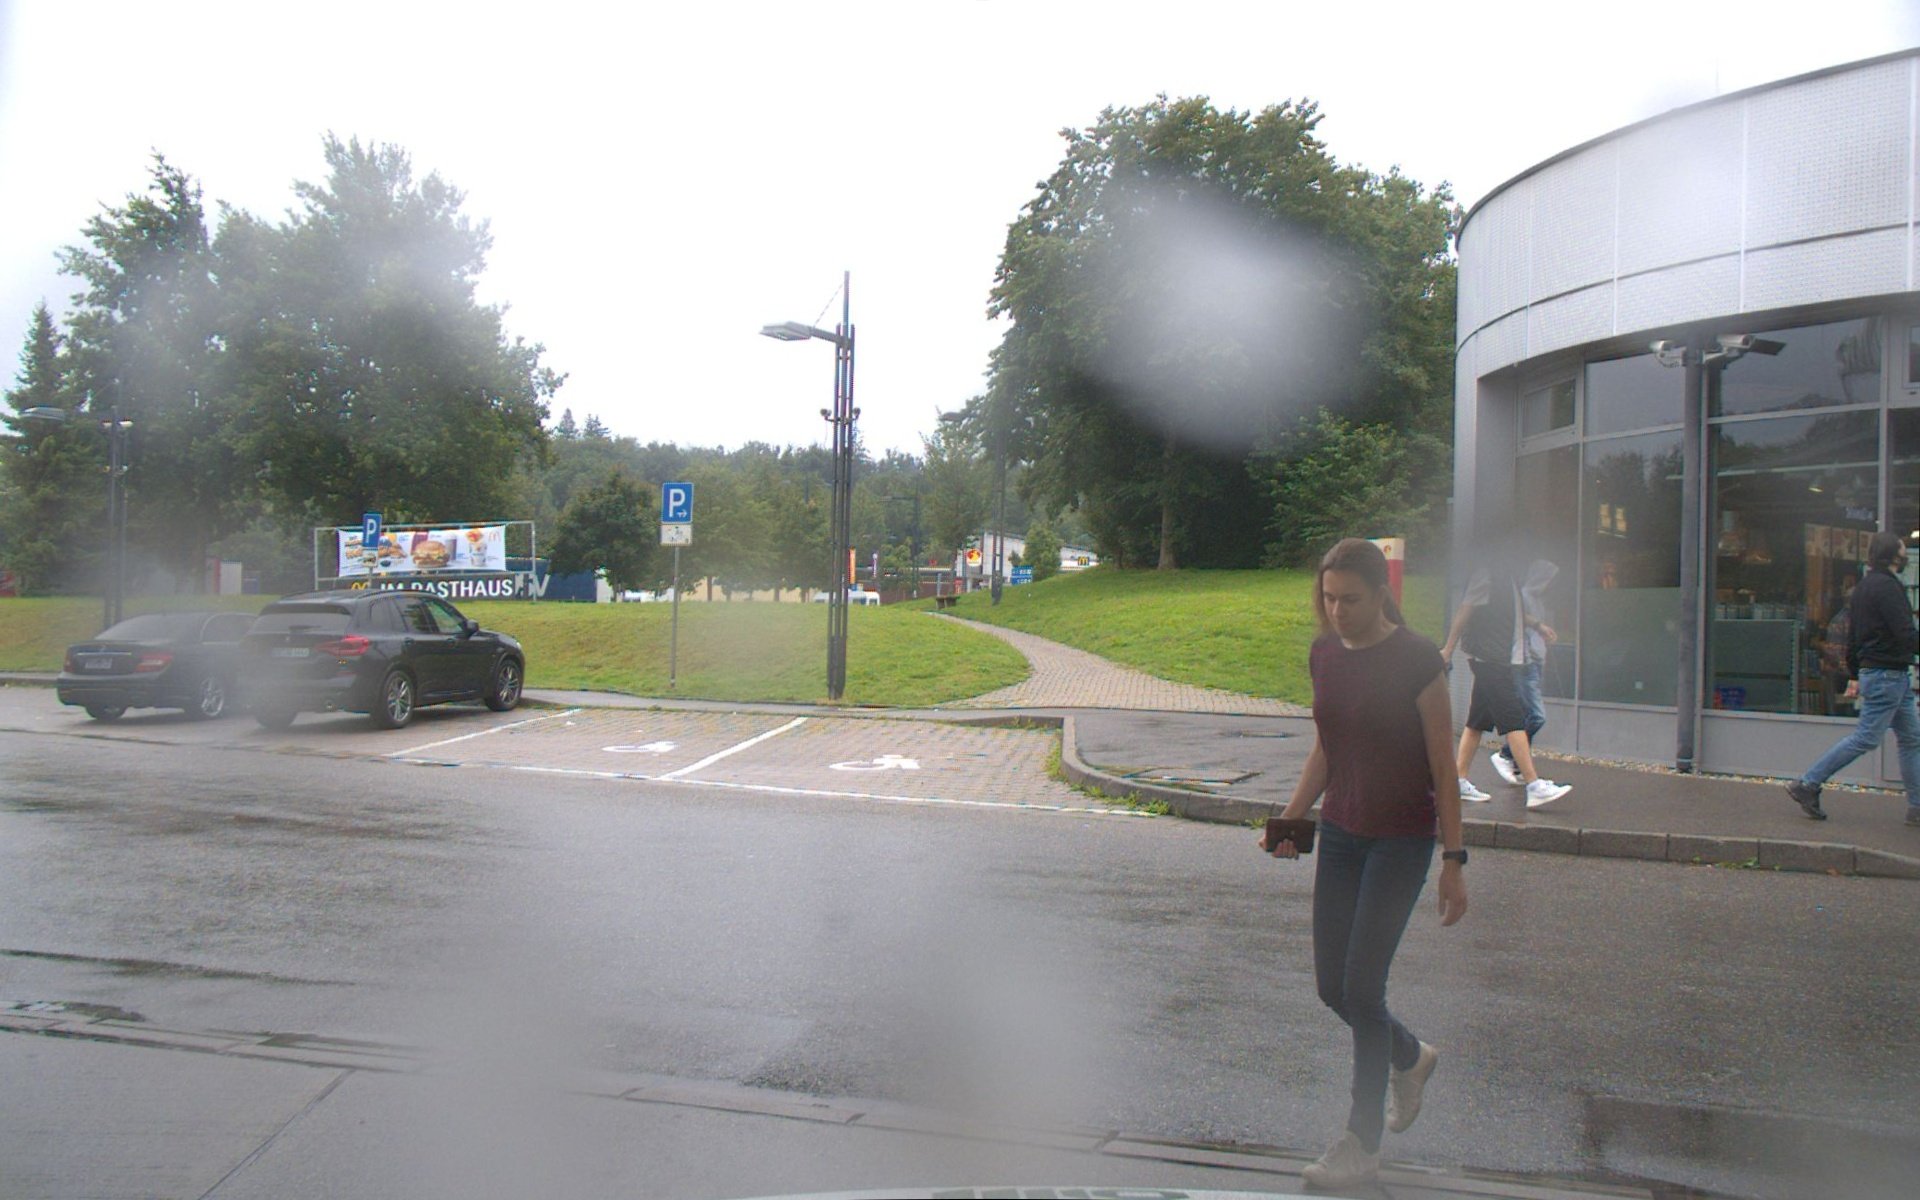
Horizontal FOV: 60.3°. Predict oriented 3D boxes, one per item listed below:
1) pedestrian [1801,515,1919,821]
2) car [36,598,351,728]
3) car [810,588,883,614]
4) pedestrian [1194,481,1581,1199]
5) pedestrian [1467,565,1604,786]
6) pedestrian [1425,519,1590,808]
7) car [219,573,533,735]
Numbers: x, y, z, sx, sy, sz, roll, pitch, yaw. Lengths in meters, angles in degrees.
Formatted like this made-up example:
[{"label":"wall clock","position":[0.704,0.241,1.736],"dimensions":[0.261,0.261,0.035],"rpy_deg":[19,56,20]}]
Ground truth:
[{"label":"pedestrian","position":[5.983,0.416,10.664],"dimensions":[0.979,1.897,0.798],"rpy_deg":[0,0,28]},{"label":"car","position":[-10.360,0.782,22.750],"dimensions":[1.844,1.592,4.189],"rpy_deg":[0,0,11]},{"label":"car","position":[-9.176,0.067,133.620],"dimensions":[5.310,2.049,2.456],"rpy_deg":[1,0,19]},{"label":"pedestrian","position":[1.169,0.603,4.468],"dimensions":[0.780,1.765,0.837],"rpy_deg":[0,0,34]},{"label":"pedestrian","position":[4.286,0.537,12.311],"dimensions":[0.872,1.577,0.659],"rpy_deg":[0,0,29]},{"label":"pedestrian","position":[3.745,0.410,11.304],"dimensions":[0.954,1.880,0.772],"rpy_deg":[0,0,28]},{"label":"car","position":[-7.334,0.609,21.311],"dimensions":[1.844,1.860,4.417],"rpy_deg":[0,0,11]}]
